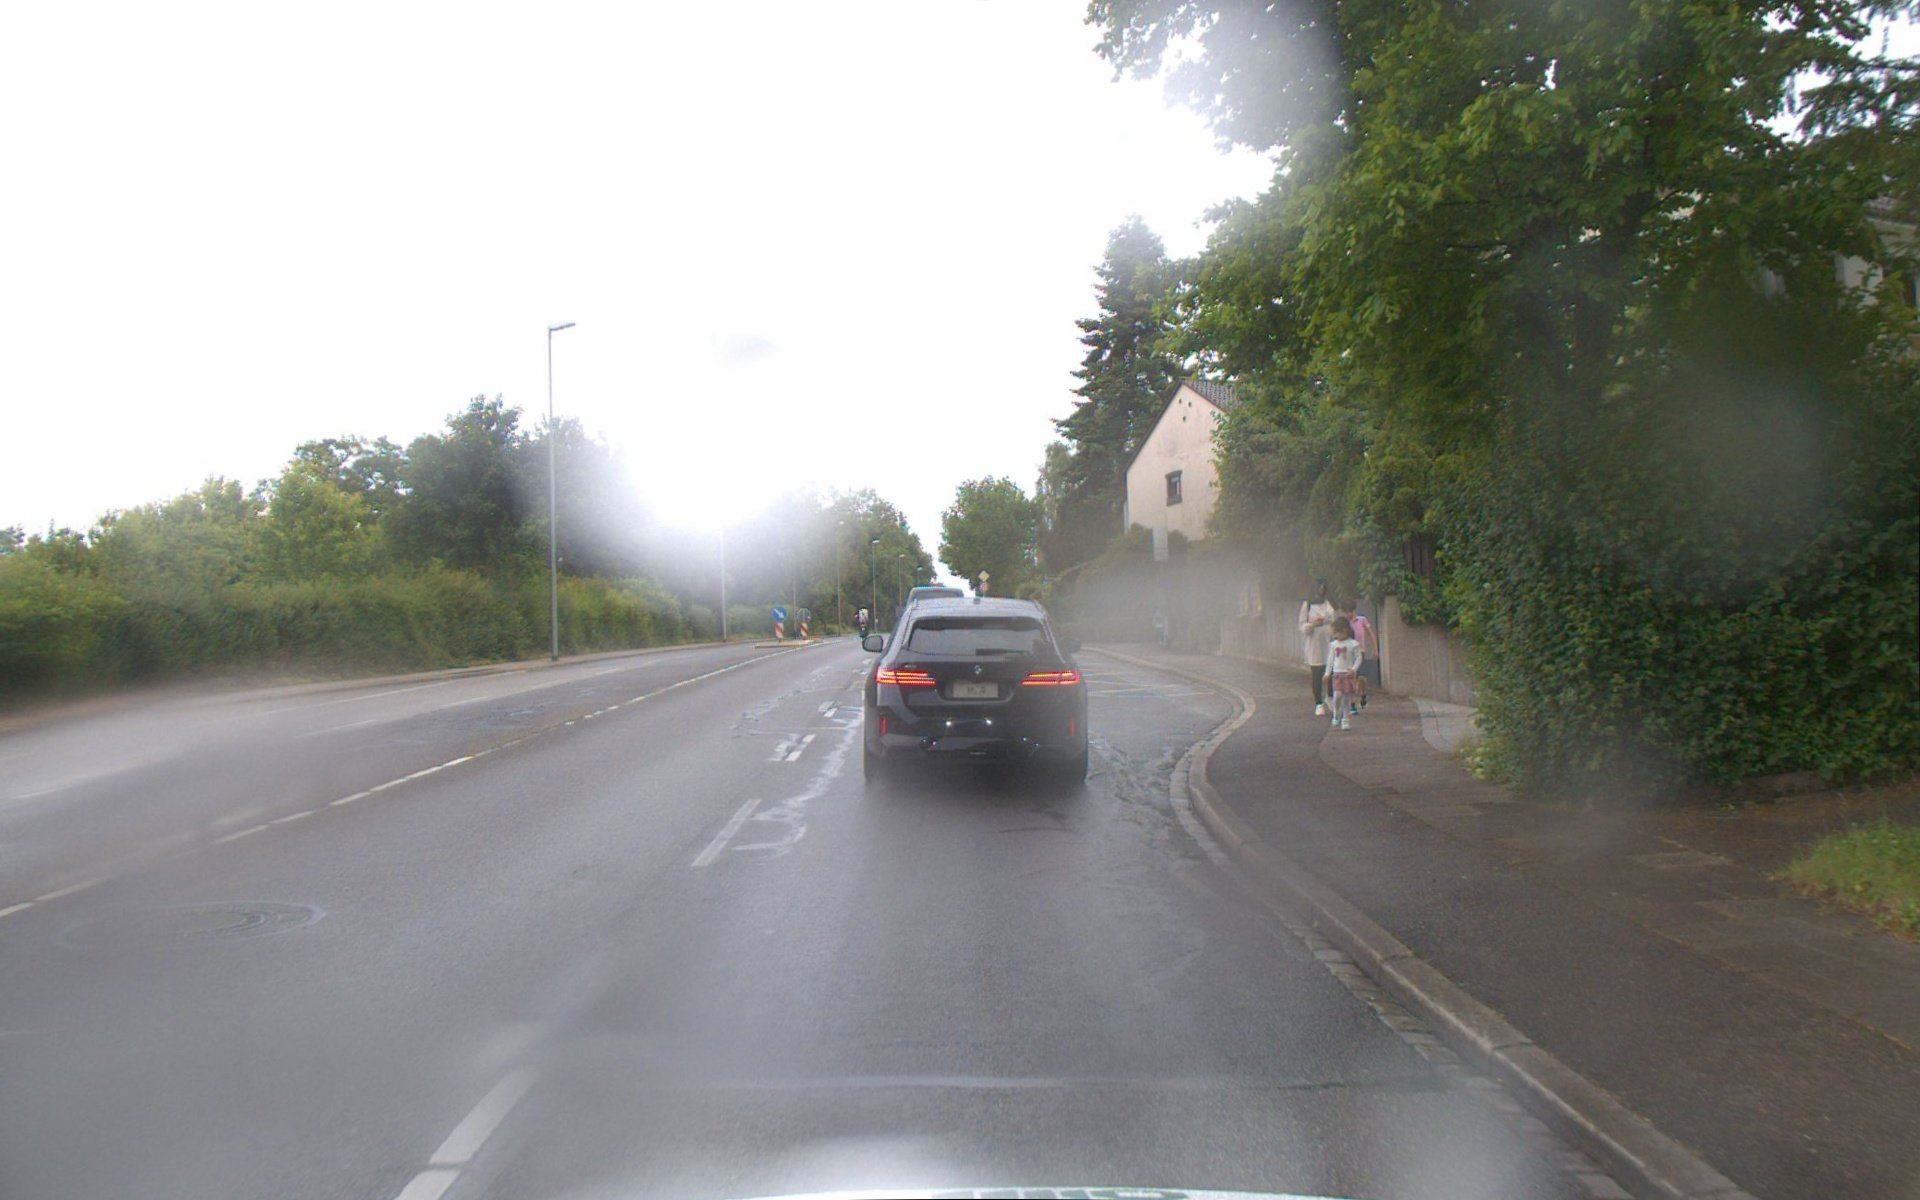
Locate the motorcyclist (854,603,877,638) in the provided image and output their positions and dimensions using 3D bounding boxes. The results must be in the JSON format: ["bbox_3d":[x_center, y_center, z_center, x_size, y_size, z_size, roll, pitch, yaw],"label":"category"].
[{"bbox_3d":[-4.391,0.967,76.799,1.018,1.595,0.855,0,-1,-1],"label":"motorcyclist"}]

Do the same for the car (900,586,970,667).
[{"bbox_3d":[-0.623,0.628,41.083,1.596,1.865,3.999,-2,0,-1],"label":"car"}]

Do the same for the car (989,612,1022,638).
[{"bbox_3d":[2.696,1.485,98.457,1.895,1.467,4.408,-2,-1,1],"label":"car"}]

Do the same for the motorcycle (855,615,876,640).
[{"bbox_3d":[-4.394,1.289,76.790,0.858,1.144,2.740,0,-1,-1],"label":"motorcycle"}]

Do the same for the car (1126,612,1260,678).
[{"bbox_3d":[7.264,1.435,51.655,3.648,1.319,1.761,13,-7,-21],"label":"car"}]

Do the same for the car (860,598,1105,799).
[{"bbox_3d":[0.176,0.772,14.618,1.858,1.515,4.000,1,-1,0],"label":"car"}]

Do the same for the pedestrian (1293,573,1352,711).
[{"bbox_3d":[4.338,0.497,19.830,0.597,1.621,0.646,-2,0,7],"label":"pedestrian"}]

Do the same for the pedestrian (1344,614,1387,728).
[{"bbox_3d":[4.233,0.731,17.278,0.359,1.166,0.366,-2,0,7],"label":"pedestrian"}]
